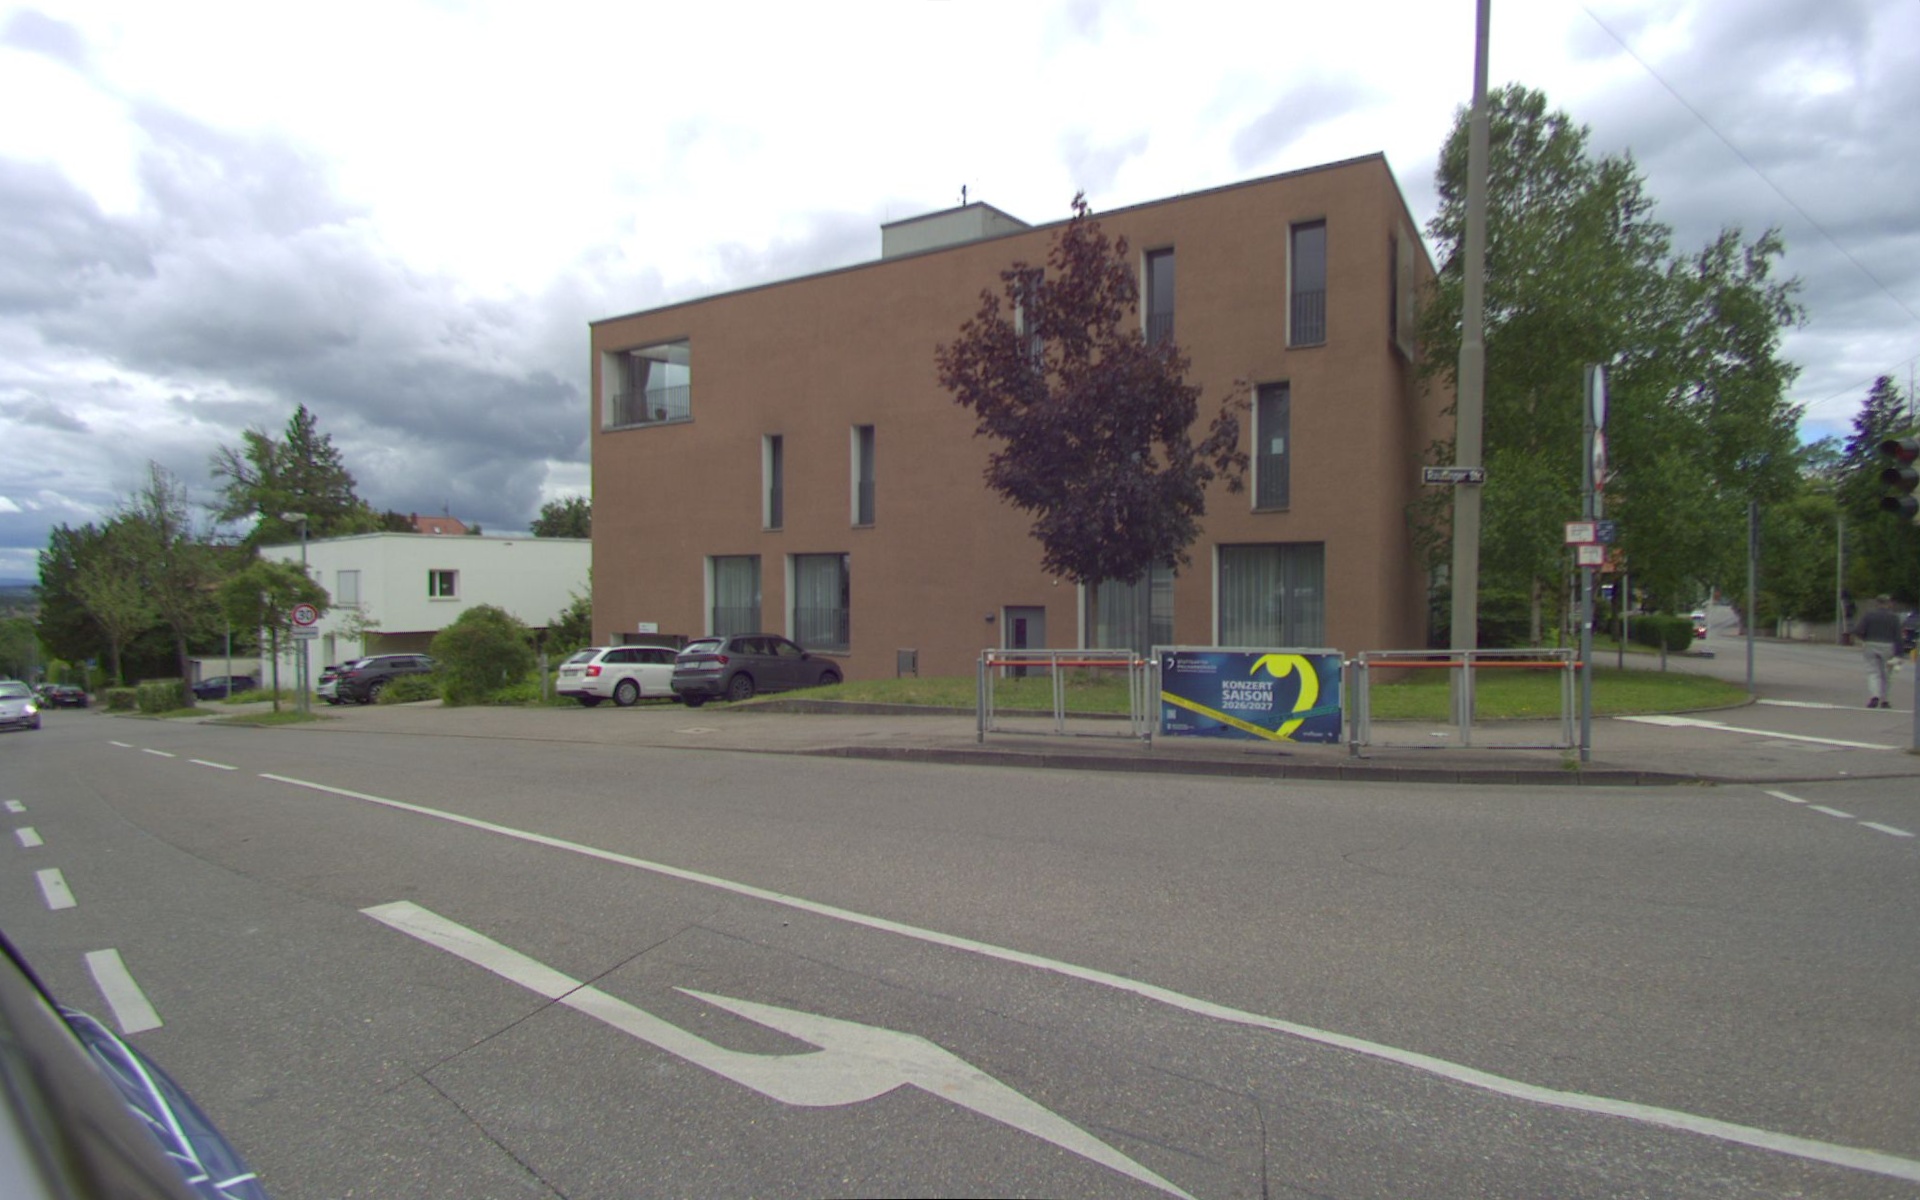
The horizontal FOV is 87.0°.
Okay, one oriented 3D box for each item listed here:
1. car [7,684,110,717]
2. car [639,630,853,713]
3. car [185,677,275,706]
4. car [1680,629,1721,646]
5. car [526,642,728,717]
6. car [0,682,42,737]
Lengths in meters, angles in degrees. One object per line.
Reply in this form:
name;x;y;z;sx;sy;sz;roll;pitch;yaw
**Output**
car;-53.742;5.946;60.397;1.998;1.570;4.379;-3;-2;39
car;-4.636;1.505;22.446;1.998;1.570;4.379;-3;-2;39
car;-47.256;5.919;65.600;1.998;1.570;4.379;-3;-2;39
car;57.656;2.905;78.845;1.991;1.209;3.962;-1;0;28
car;-8.125;1.894;25.007;1.998;1.570;4.379;-3;-2;39
car;-30.406;3.492;31.769;3.999;1.608;1.972;-6;-3;42
